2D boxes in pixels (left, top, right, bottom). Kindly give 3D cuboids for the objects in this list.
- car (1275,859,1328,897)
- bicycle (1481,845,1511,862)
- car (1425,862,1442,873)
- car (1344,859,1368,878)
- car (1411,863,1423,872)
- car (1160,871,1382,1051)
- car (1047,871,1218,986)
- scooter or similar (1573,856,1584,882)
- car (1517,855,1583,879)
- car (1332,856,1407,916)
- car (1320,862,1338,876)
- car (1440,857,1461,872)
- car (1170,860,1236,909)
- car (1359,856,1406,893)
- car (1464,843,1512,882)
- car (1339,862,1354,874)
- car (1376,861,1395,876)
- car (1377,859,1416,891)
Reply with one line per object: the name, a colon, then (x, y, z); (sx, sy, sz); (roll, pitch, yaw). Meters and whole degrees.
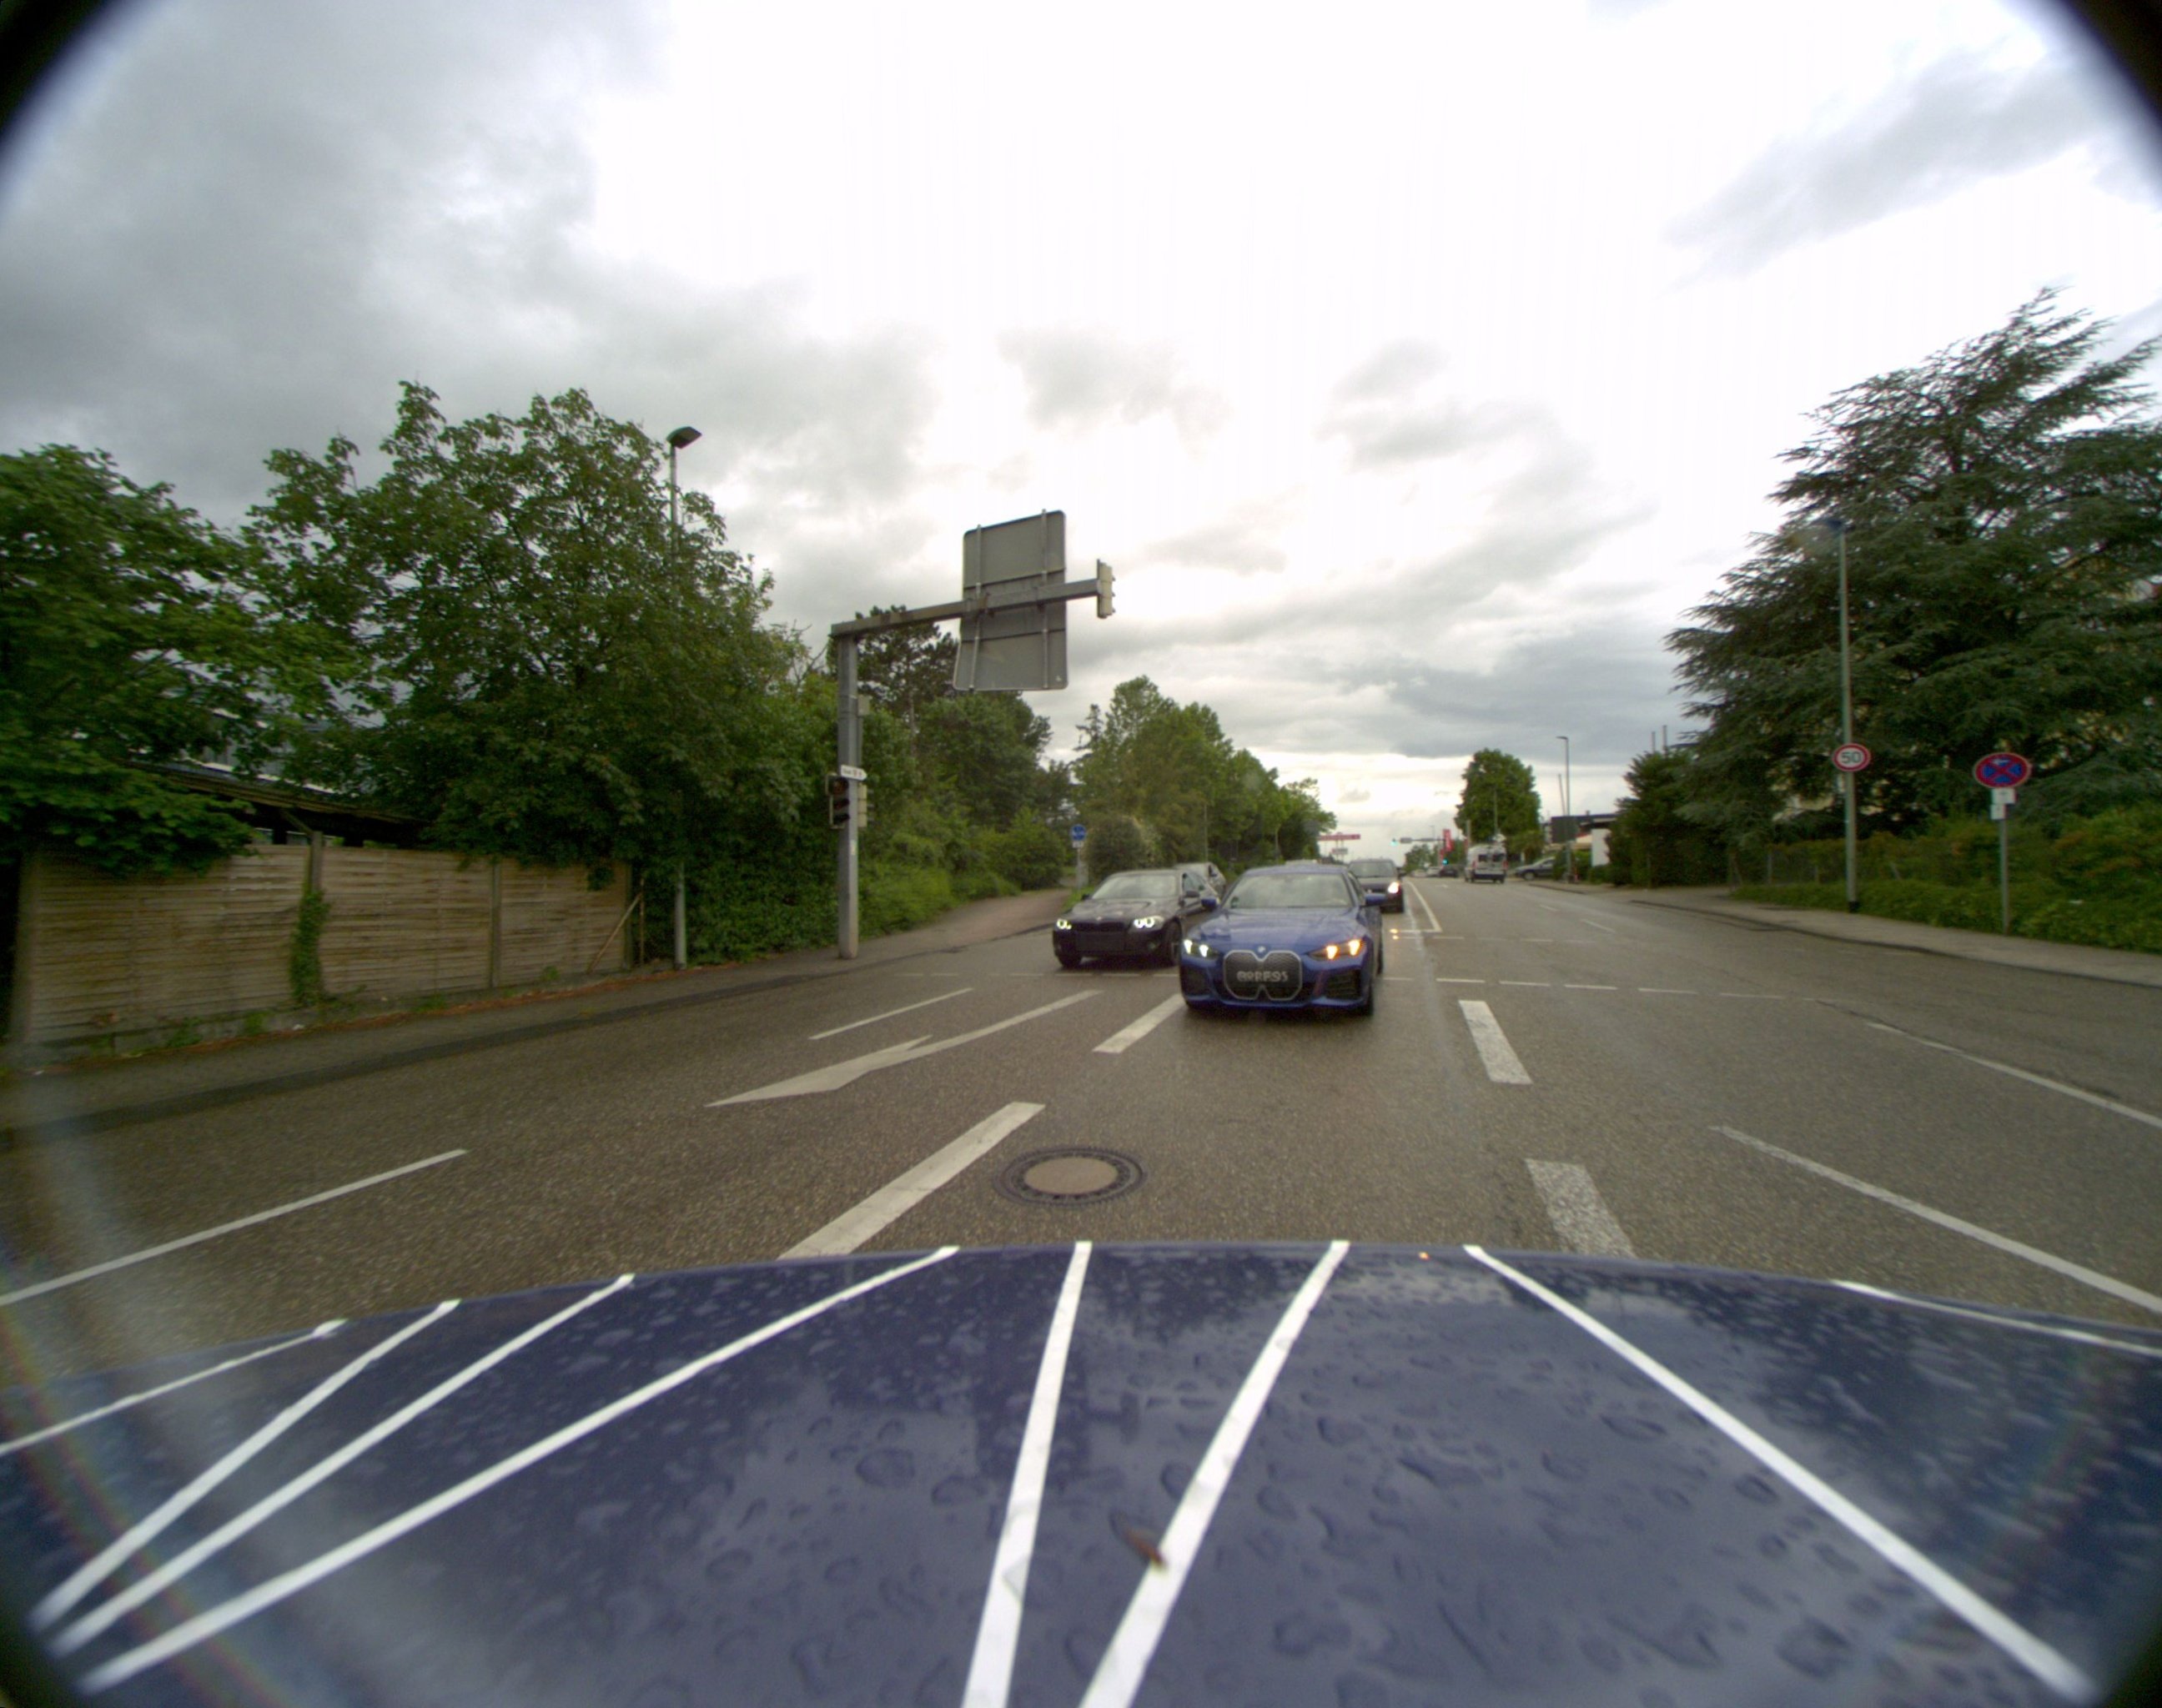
car: (10.820, 1.126, 37.097); (1.976, 1.612, 3.848); (-4, -1, 22)
bicycle: (27.289, -0.045, 49.972); (1.637, 1.119, 0.469); (0, 0, 22)
car: (46.832, 1.766, 100.984); (1.748, 1.389, 3.808); (-2, 0, 22)
car: (25.651, 1.344, 70.810); (1.826, 1.612, 3.848); (-1, 0, 22)
car: (61.825, 2.525, 139.798); (1.701, 1.590, 3.555); (-2, 0, 20)
car: (2.395, 0.954, 8.626); (1.801, 1.399, 4.279); (-1, 0, 22)
car: (1.100, 1.099, 12.946); (1.793, 1.451, 4.726); (-2, 0, 18)
scooter or similar: (27.500, 0.804, 42.012); (0.505, 1.397, 1.884); (-1, 0, 33)
car: (33.538, 0.910, 54.436); (3.924, 1.642, 1.722); (-1, 0, 29)
car: (8.367, 0.877, 21.849); (1.804, 1.542, 4.230); (-1, -1, 23)
car: (31.590, 1.893, 96.668); (1.813, 1.608, 3.914); (-4, -1, 22)
car: (39.420, 1.154, 81.141); (1.777, 1.493, 4.479); (-1, 0, 22)
car: (4.775, 1.130, 29.374); (1.703, 1.612, 3.847); (-4, -1, 20)
car: (13.455, 0.878, 33.812); (1.804, 1.543, 4.006); (-1, 0, 23)
car: (28.260, 0.542, 52.962); (2.299, 2.513, 5.782); (-2, 0, 22)
car: (39.861, 2.086, 114.103); (1.996, 1.668, 4.006); (-2, 0, 19)
car: (37.445, 1.752, 93.337); (1.926, 1.707, 4.106); (-5, -2, 23)
car: (18.390, 1.182, 44.251); (1.925, 1.707, 4.106); (-3, -1, 23)
